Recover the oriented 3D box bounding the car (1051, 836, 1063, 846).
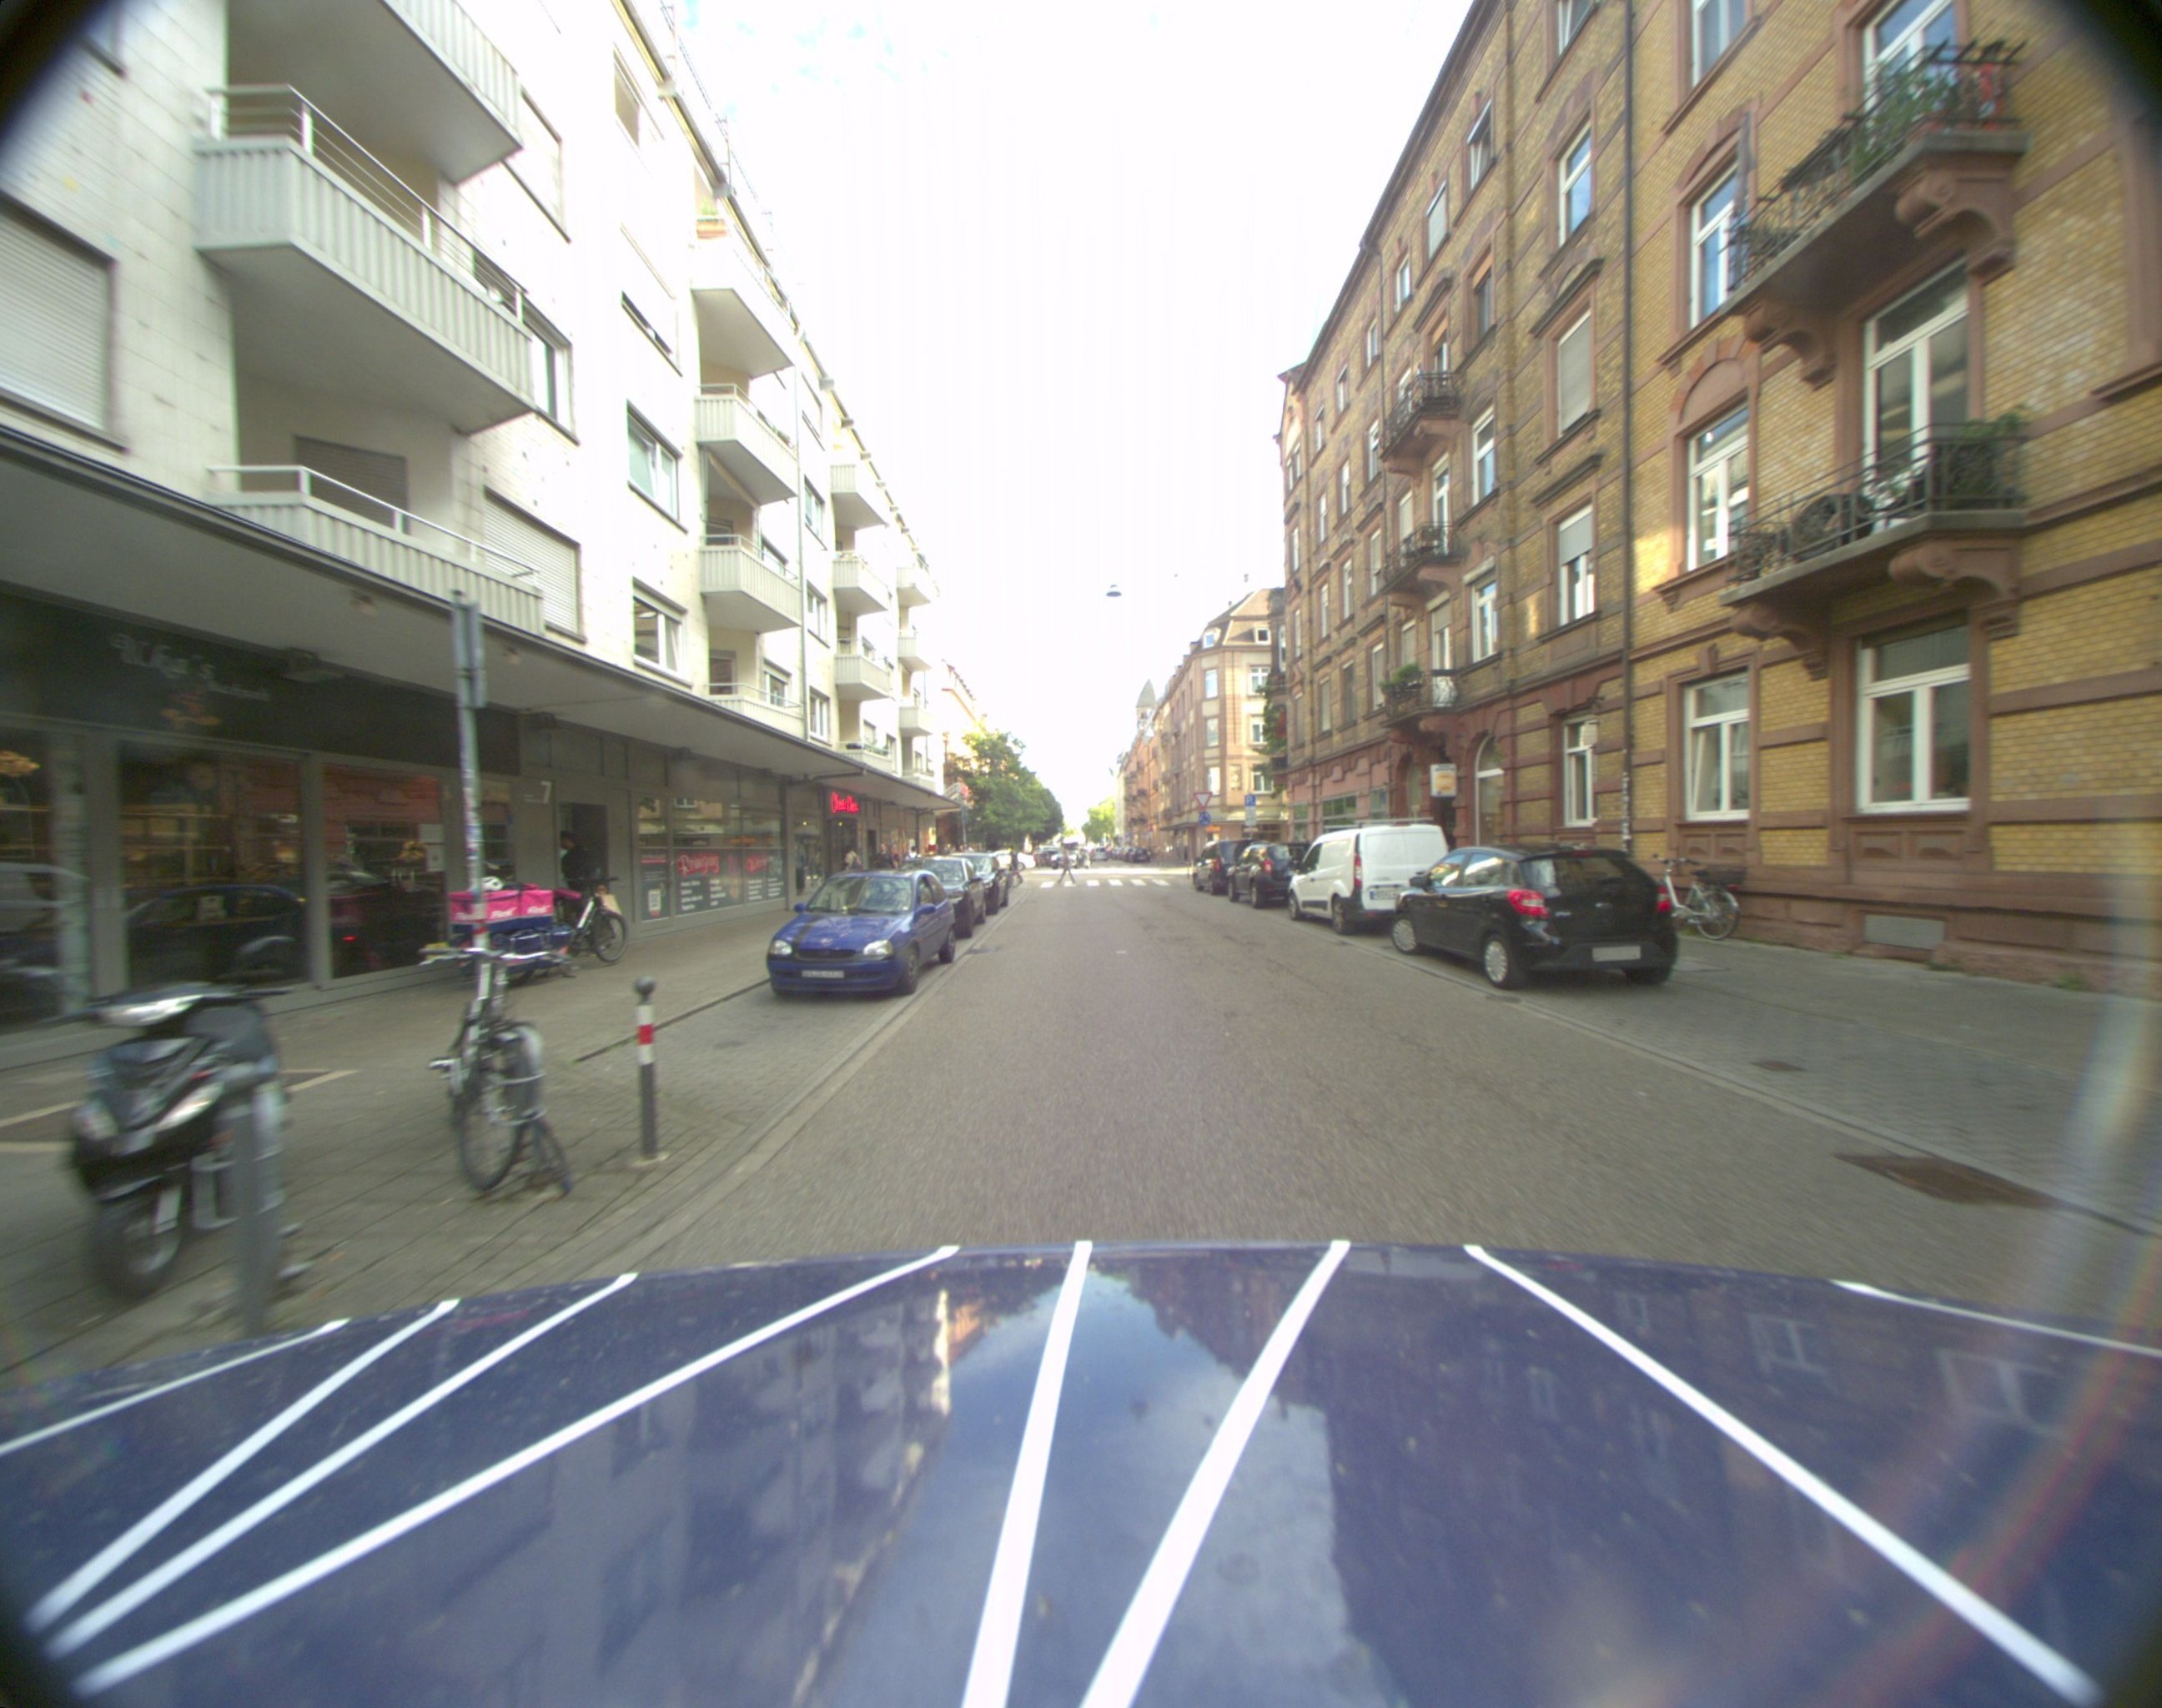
[{"bbox_3d":[-4.433,-2.491,141.928,1.850,1.724,3.998,-3,1,-6],"label":"car"}]

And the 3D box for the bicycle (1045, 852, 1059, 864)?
[{"bbox_3d":[-2.548,0.368,66.168,0.419,0.979,1.834,0,1,-31],"label":"bicycle"}]

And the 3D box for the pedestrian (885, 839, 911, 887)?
[{"bbox_3d":[-6.237,0.302,25.933,0.724,1.623,0.712,1,1,-2],"label":"pedestrian"}]

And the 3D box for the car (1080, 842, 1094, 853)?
[{"bbox_3d":[0.977,-1.078,120.564,1.998,1.625,4.844,-1,0,2],"label":"car"}]

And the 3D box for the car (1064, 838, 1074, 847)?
[{"bbox_3d":[-2.739,-2.696,176.943,1.998,1.877,4.000,-3,1,2],"label":"car"}]

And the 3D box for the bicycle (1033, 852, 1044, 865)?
[{"bbox_3d":[-3.650,0.356,65.332,0.434,1.095,1.672,0,1,-20],"label":"bicycle"}]

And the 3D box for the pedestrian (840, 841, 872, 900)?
[{"bbox_3d":[-6.776,0.483,22.915,0.817,1.737,0.715,1,1,-11],"label":"pedestrian"}]

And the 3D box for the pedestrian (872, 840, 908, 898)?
[{"bbox_3d":[-5.864,0.441,23.362,0.851,1.737,1.048,1,1,-2],"label":"pedestrian"}]

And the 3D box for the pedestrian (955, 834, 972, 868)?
[{"bbox_3d":[-6.350,-0.144,40.938,0.654,1.786,0.659,2,0,13],"label":"pedestrian"}]

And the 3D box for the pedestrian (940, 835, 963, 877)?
[{"bbox_3d":[-5.533,0.081,32.497,0.765,1.743,0.930,-1,1,-2],"label":"pedestrian"}]

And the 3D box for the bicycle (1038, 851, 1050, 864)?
[{"bbox_3d":[-3.204,0.333,65.555,0.476,1.095,1.671,0,1,-25],"label":"bicycle"}]

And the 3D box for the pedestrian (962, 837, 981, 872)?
[{"bbox_3d":[-5.783,0.027,40.237,0.713,1.786,0.634,2,0,33],"label":"pedestrian"}]

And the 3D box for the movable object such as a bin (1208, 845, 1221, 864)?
[{"bbox_3d":[5.228,0.007,29.814,0.384,0.710,0.475,-3,1,-4],"label":"movable object such as a bin"}]

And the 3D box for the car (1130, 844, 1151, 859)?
[{"bbox_3d":[5.843,-0.253,74.685,1.723,1.360,3.829,-3,1,0],"label":"car"}]

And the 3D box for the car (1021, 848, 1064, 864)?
[{"bbox_3d":[-3.451,0.150,68.603,3.593,1.372,1.510,1,1,-26],"label":"car"}]

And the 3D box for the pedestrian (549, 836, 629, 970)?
[{"bbox_3d":[-7.048,0.672,10.895,0.708,1.849,0.646,-1,2,29],"label":"pedestrian"}]

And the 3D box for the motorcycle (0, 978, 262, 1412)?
[{"bbox_3d":[-3.824,1.188,3.108,1.660,1.089,0.609,1,2,42],"label":"motorcycle"}]

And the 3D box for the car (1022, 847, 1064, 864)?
[{"bbox_3d":[-3.565,0.136,70.969,3.592,1.606,1.510,1,1,-23],"label":"car"}]

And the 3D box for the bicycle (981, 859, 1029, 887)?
[{"bbox_3d":[-3.145,0.778,31.482,1.888,1.119,0.907,1,1,-2],"label":"bicycle"}]

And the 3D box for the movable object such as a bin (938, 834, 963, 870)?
[{"bbox_3d":[-6.479,-0.103,37.798,0.781,1.734,2.422,-1,1,0],"label":"movable object such as a bin"}]

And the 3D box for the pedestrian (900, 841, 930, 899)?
[{"bbox_3d":[-5.084,0.477,23.333,0.613,1.716,1.126,-3,1,-2],"label":"pedestrian"}]

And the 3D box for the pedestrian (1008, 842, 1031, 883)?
[{"bbox_3d":[-2.824,0.373,35.033,0.856,1.830,0.679,-2,3,8],"label":"pedestrian"}]

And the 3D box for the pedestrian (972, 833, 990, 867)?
[{"bbox_3d":[-5.374,-0.194,40.814,0.716,1.786,0.630,2,0,-35],"label":"pedestrian"}]

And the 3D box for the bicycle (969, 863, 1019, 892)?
[{"bbox_3d":[-3.252,0.881,28.280,1.794,1.064,0.586,1,0,-10],"label":"bicycle"}]

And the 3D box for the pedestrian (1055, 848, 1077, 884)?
[{"bbox_3d":[-0.644,0.515,33.120,0.810,1.569,0.614,-1,0,-18],"label":"pedestrian"}]

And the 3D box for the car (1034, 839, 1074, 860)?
[{"bbox_3d":[-3.436,-0.563,97.396,4.746,2.409,1.995,-3,1,-32],"label":"car"}]

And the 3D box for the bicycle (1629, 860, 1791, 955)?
[{"bbox_3d":[8.725,0.689,10.670,0.569,1.144,2.000,-3,1,0],"label":"bicycle"}]

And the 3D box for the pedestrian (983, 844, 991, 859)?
[{"bbox_3d":[-8.297,-0.257,66.926,0.467,1.320,0.620,-2,2,-24],"label":"pedestrian"}]

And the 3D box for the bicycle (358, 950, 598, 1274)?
[{"bbox_3d":[-3.183,1.163,3.945,1.764,1.089,0.685,1,2,42],"label":"bicycle"}]

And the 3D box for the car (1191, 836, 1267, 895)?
[{"bbox_3d":[5.005,0.373,26.227,1.764,1.763,4.406,-3,0,1],"label":"car"}]

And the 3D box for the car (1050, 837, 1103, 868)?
[{"bbox_3d":[-0.257,-0.144,53.116,1.789,2.052,4.007,0,2,32],"label":"car"}]

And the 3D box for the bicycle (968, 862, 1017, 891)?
[{"bbox_3d":[-3.372,0.854,28.880,1.794,1.064,0.568,1,0,-10],"label":"bicycle"}]

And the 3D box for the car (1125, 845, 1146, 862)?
[{"bbox_3d":[5.655,-0.078,79.682,1.861,1.575,4.397,-3,1,0],"label":"car"}]

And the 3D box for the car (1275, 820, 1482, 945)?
[{"bbox_3d":[5.156,0.421,13.903,1.925,1.861,4.435,-2,1,-2],"label":"car"}]

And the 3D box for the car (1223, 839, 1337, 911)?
[{"bbox_3d":[5.100,0.504,20.047,1.998,1.628,4.146,-2,0,2],"label":"car"}]

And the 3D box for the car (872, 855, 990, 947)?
[{"bbox_3d":[-2.866,0.830,15.329,1.693,1.568,3.901,-1,1,-2],"label":"car"}]

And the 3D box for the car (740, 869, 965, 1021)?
[{"bbox_3d":[-2.652,0.973,9.816,1.599,1.431,4.030,-1,1,1],"label":"car"}]

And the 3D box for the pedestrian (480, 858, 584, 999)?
[{"bbox_3d":[-6.490,0.848,9.023,0.645,1.579,0.780,0,1,2],"label":"pedestrian"}]

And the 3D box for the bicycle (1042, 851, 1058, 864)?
[{"bbox_3d":[-2.693,0.293,65.730,0.476,1.136,1.834,0,1,-31],"label":"bicycle"}]

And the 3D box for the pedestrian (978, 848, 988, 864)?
[{"bbox_3d":[-8.223,0.132,63.703,0.729,1.307,0.520,-3,1,-12],"label":"pedestrian"}]

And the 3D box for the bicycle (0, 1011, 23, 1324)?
[{"bbox_3d":[-3.751,1.183,2.102,1.957,1.089,0.691,1,3,42],"label":"bicycle"}]

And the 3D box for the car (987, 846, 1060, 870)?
[{"bbox_3d":[-4.054,0.253,53.540,4.839,1.588,1.942,-1,0,-16],"label":"car"}]

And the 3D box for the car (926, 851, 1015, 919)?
[{"bbox_3d":[-2.860,0.743,20.473,1.797,1.596,3.923,-1,1,0],"label":"car"}]

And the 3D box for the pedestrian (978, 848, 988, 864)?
[{"bbox_3d":[-8.289,0.131,64.217,0.729,1.307,0.520,-3,1,-12],"label":"pedestrian"}]

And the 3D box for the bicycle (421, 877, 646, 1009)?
[{"bbox_3d":[-6.494,0.981,9.268,0.921,1.283,2.499,0,1,0],"label":"bicycle"}]

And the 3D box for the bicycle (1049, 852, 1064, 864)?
[{"bbox_3d":[-2.142,0.348,66.413,0.473,0.979,1.860,0,1,-31],"label":"bicycle"}]

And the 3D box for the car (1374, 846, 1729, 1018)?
[{"bbox_3d":[5.107,0.700,8.996,1.746,1.475,3.982,-3,1,1],"label":"car"}]

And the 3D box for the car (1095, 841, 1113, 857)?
[{"bbox_3d":[2.791,-0.630,93.639,1.834,1.780,4.330,-4,0,-2],"label":"car"}]
